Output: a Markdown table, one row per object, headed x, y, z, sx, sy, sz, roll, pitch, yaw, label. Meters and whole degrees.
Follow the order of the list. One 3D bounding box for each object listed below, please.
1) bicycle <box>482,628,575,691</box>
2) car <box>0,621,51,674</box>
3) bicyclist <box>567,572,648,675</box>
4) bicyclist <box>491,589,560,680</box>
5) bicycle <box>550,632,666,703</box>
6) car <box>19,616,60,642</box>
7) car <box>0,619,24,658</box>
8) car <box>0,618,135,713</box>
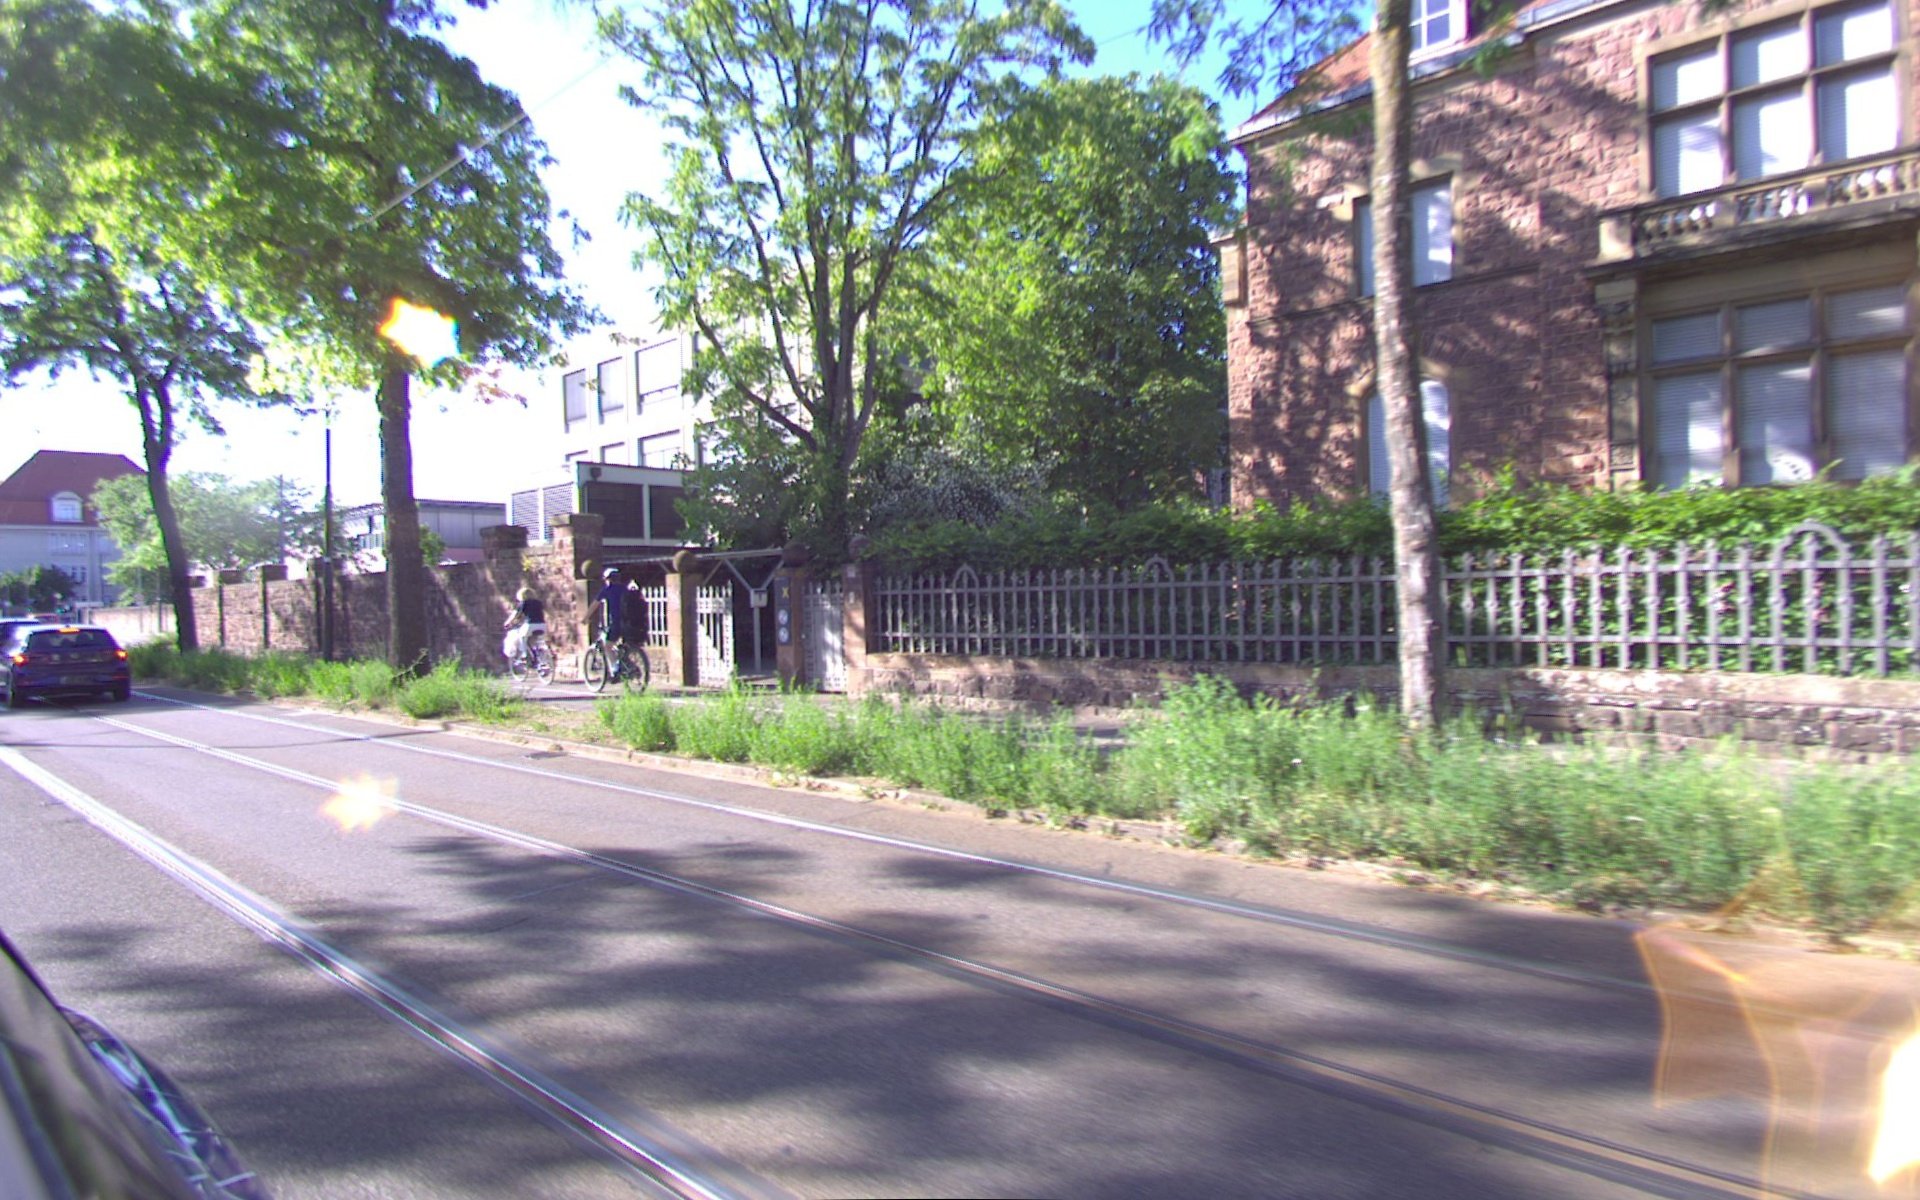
| x | y | z | sx | sy | sz | roll | pitch | yaw | label |
| --- | --- | --- | --- | --- | --- | --- | --- | --- | --- |
| -7.553 | 1.017 | 17.680 | 1.887 | 0.981 | 0.710 | -1 | 2 | 41 | bicycle |
| -29.833 | 1.456 | 31.545 | 4.033 | 1.535 | 1.730 | -1 | 0 | 41 | car |
| -5.289 | 0.348 | 15.165 | 1.041 | 1.481 | 0.701 | -2 | 0 | 42 | bicyclist |
| -7.591 | 0.592 | 17.692 | 0.956 | 1.510 | 0.702 | -1 | 2 | 41 | bicyclist |
| -5.306 | 0.980 | 15.178 | 2.094 | 0.967 | 0.703 | -2 | 0 | 42 | bicycle |
| -75.213 | 2.344 | 82.689 | 4.932 | 1.980 | 1.972 | -2 | 0 | 42 | car |
| -41.075 | 1.627 | 42.211 | 4.567 | 1.535 | 1.977 | -1 | 0 | 34 | car |
| -17.048 | 1.151 | 18.982 | 4.067 | 1.535 | 1.730 | -1 | 0 | 41 | car |
